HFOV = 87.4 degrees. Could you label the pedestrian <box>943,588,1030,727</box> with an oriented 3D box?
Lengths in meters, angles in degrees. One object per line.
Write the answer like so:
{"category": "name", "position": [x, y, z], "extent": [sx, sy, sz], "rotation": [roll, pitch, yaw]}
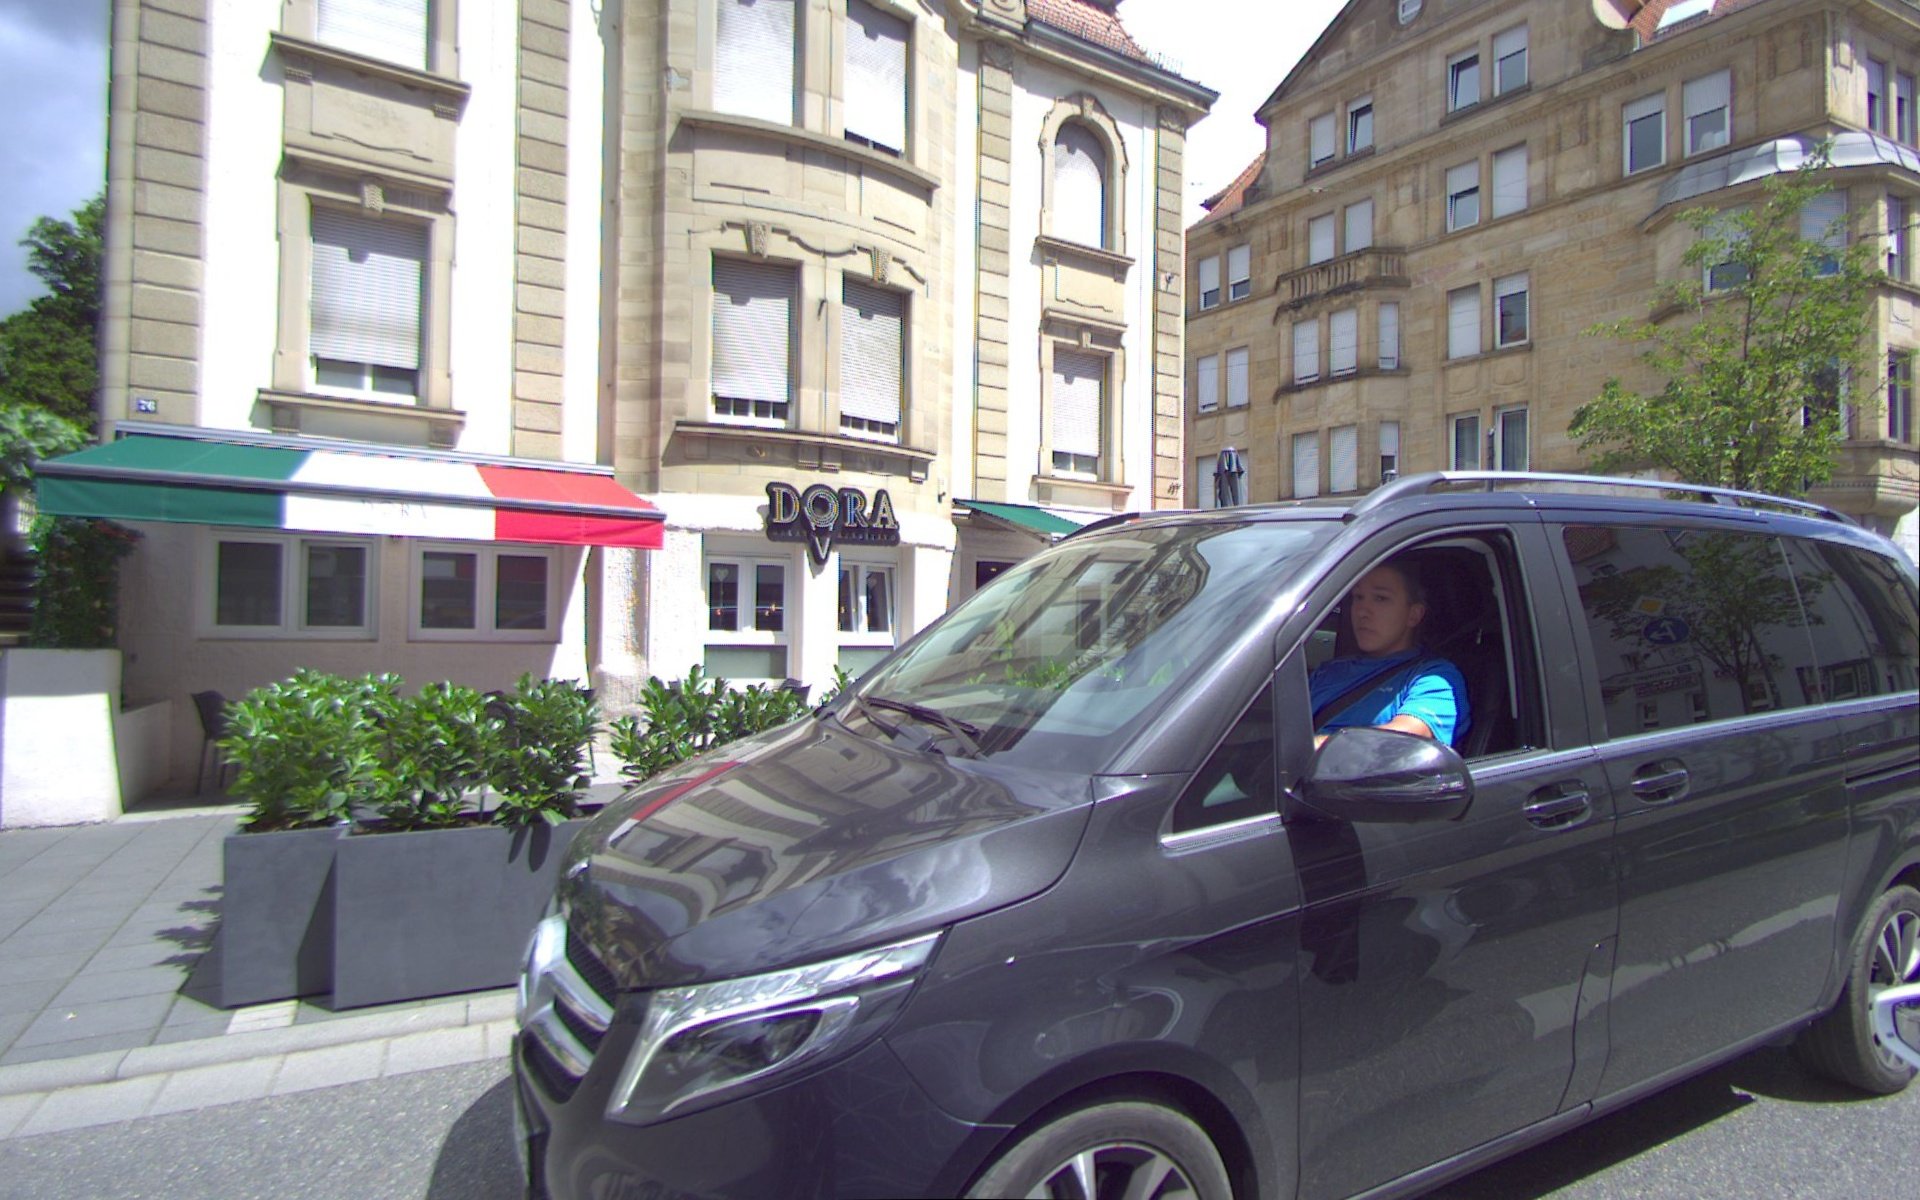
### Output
{"category": "pedestrian", "position": [0.362, 0.744, 13.505], "extent": [0.795, 1.780, 0.802], "rotation": [2, 0, -44]}

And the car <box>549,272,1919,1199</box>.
{"category": "car", "position": [1.455, 0.567, 3.356], "extent": [5.110, 1.959, 1.864], "rotation": [0, -1, -28]}
